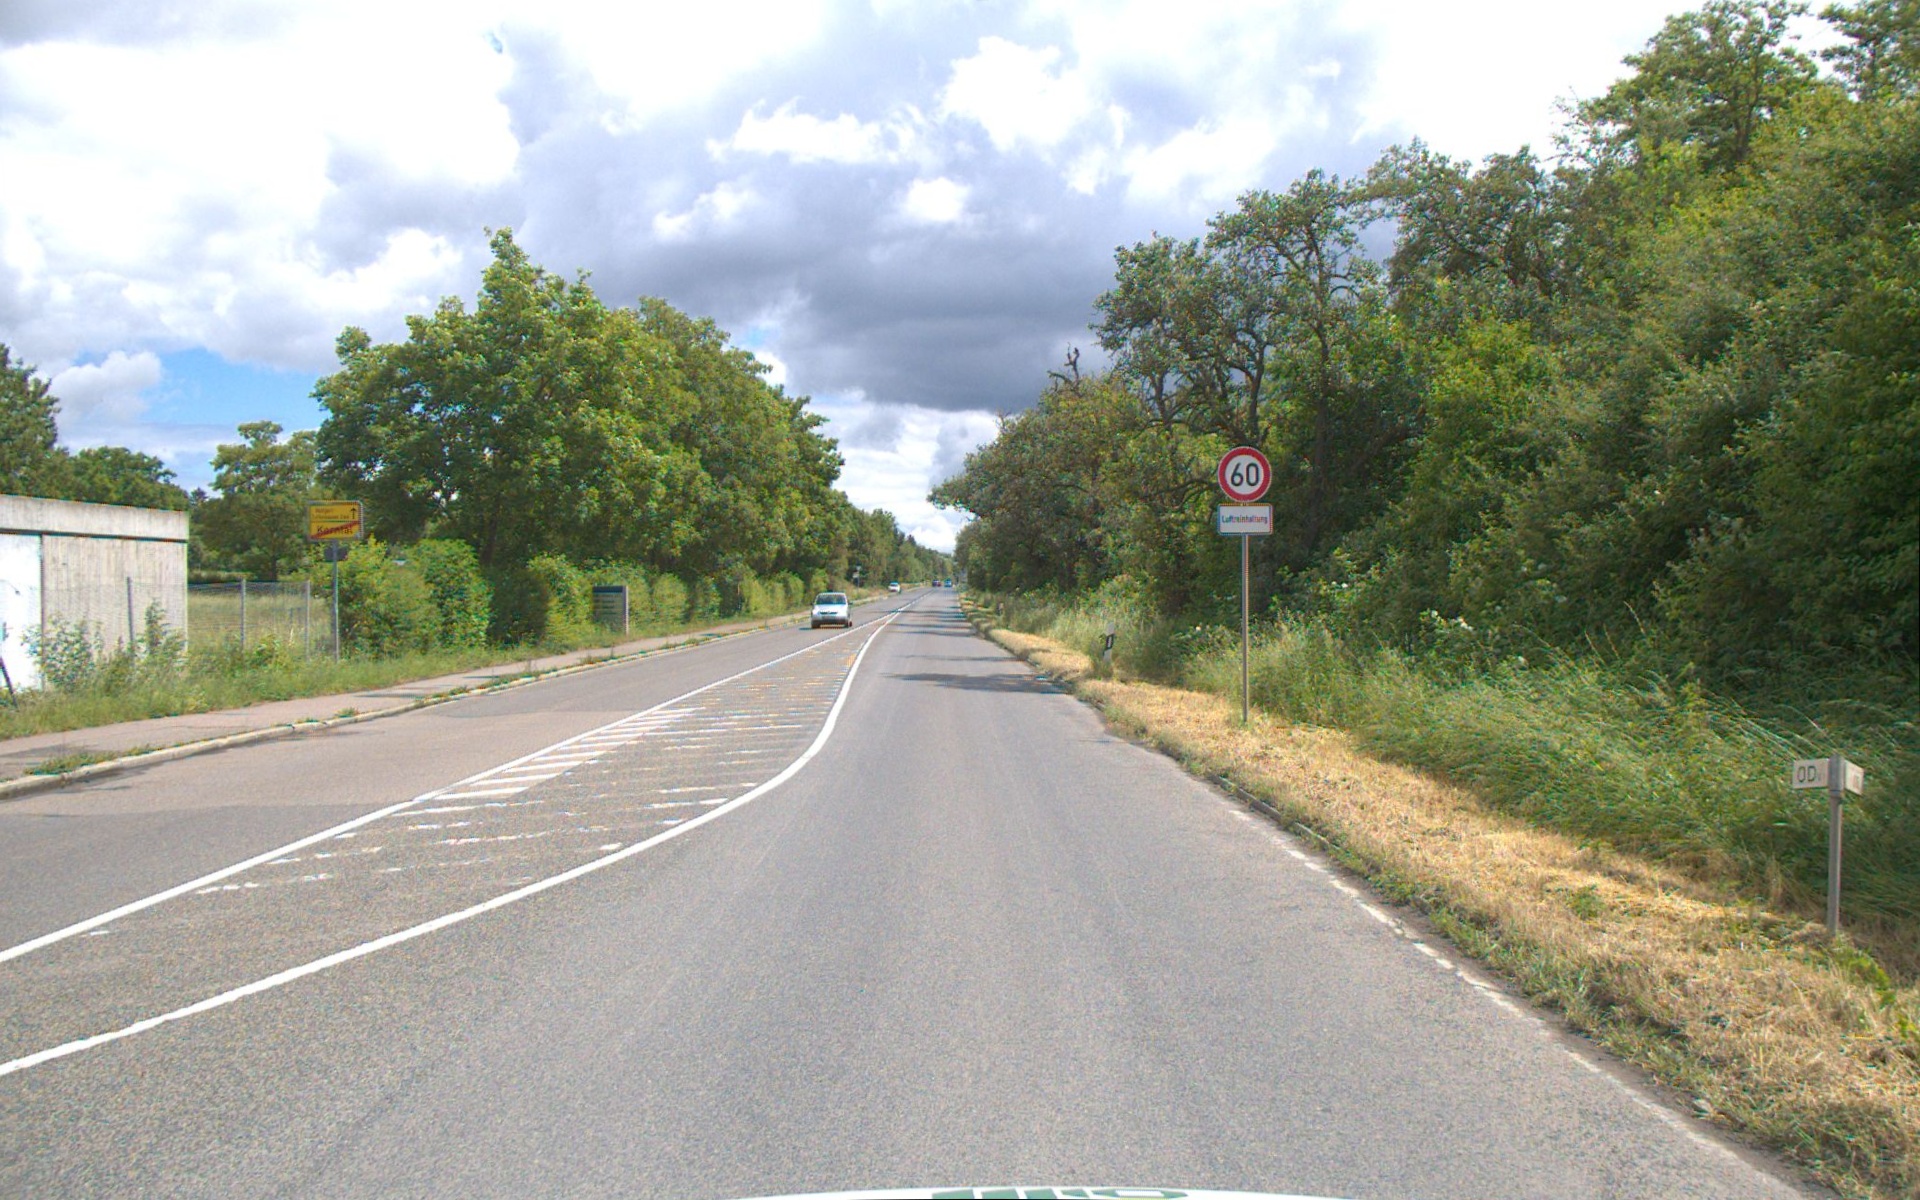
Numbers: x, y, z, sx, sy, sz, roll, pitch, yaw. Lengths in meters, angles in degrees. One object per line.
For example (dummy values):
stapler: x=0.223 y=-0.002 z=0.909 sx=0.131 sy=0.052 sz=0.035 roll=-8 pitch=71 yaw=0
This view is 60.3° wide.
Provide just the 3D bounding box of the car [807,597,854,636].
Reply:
car: x=-5.345 y=0.658 z=68.651 sx=1.627 sy=1.457 sz=3.693 roll=-2 pitch=1 yaw=0
